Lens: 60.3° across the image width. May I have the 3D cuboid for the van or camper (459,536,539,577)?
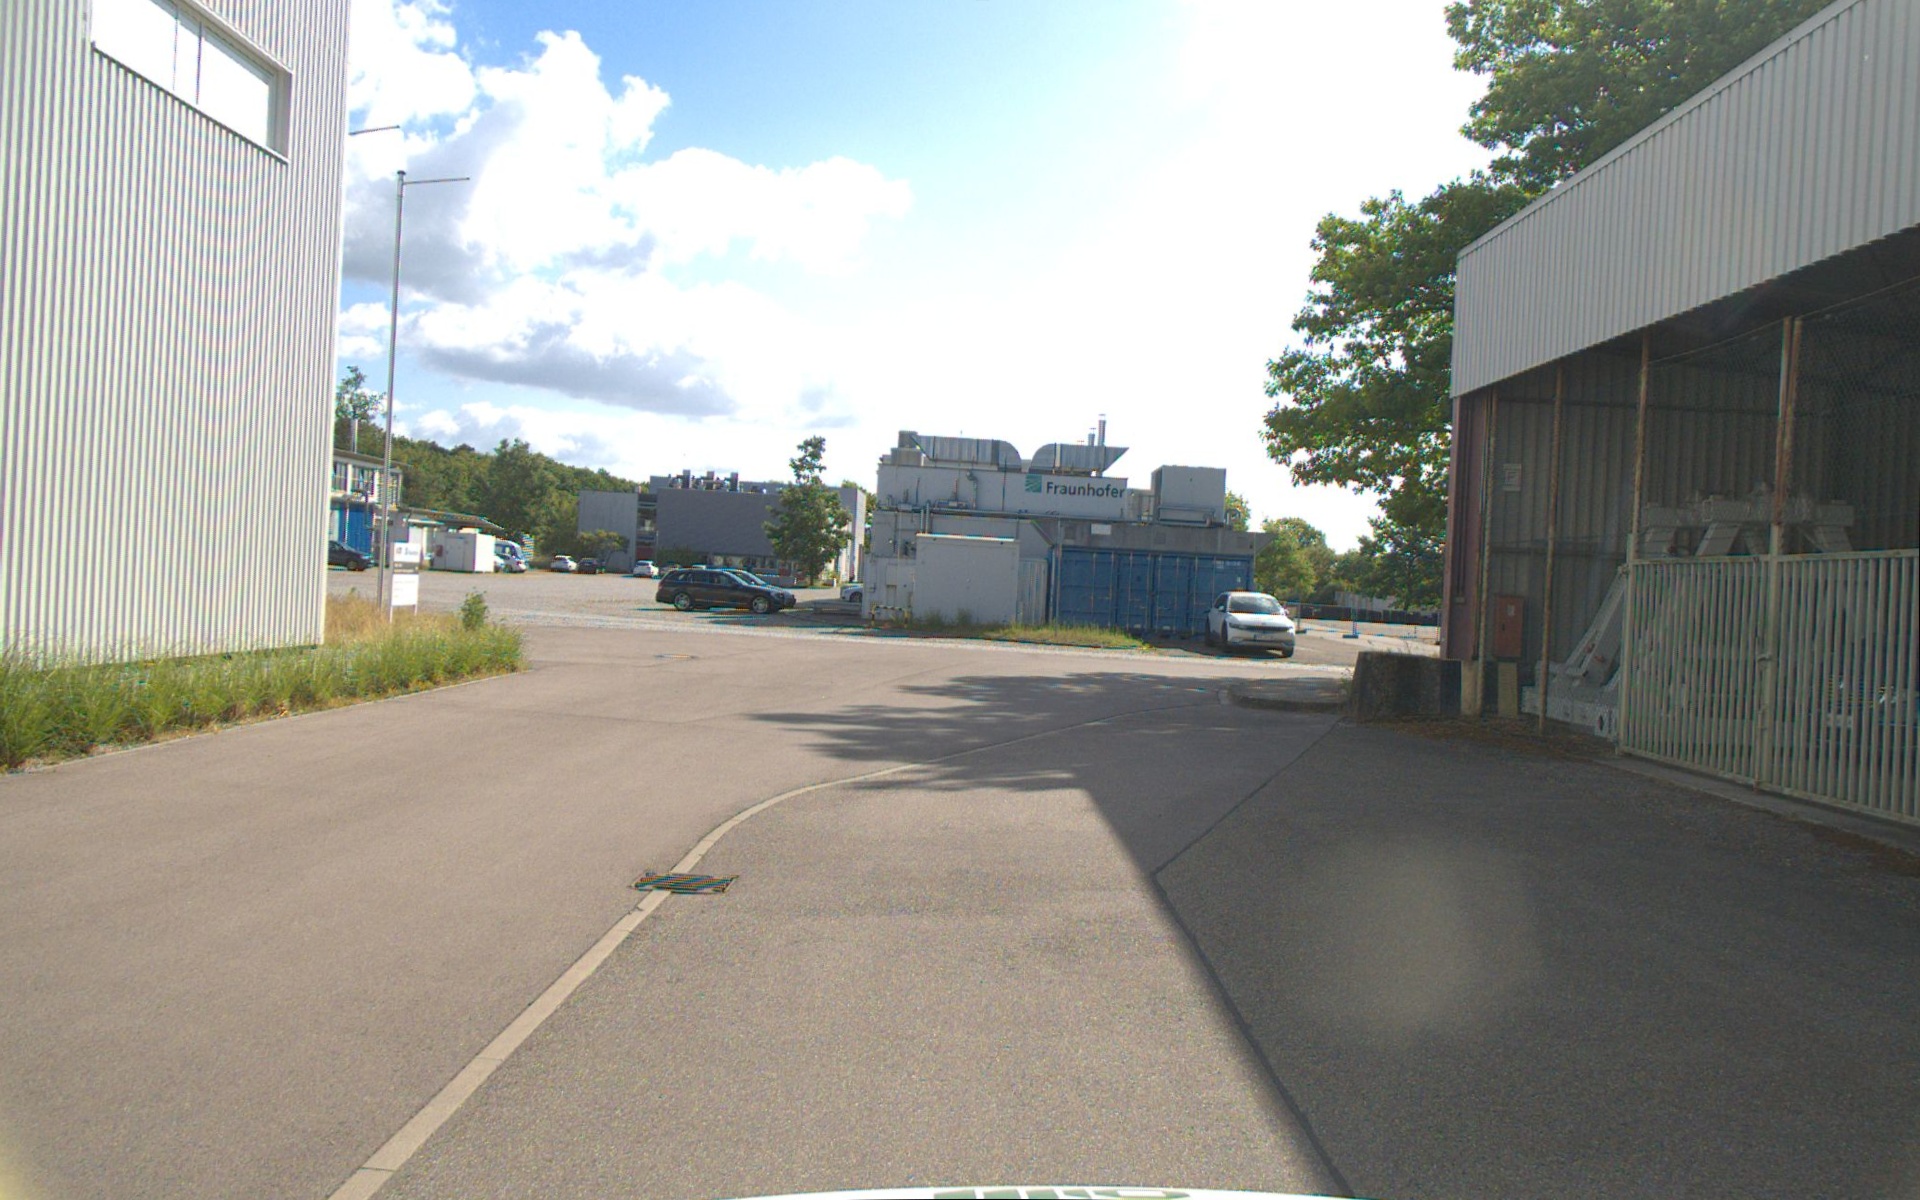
[{"bbox_3d":[-36.564,-3.419,131.306,5.600,2.979,2.473,2,1,-2],"label":"van or camper"}]

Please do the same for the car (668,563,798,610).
[{"bbox_3d":[-8.360,-0.503,61.205,4.432,1.534,1.909,2,1,2],"label":"car"}]

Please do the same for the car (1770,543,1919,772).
[{"bbox_3d":[10.394,0.557,15.018,5.136,1.909,1.998,2,1,-6],"label":"car"}]

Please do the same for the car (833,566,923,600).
[{"bbox_3d":[-4.221,-0.897,85.585,4.433,1.534,1.909,2,1,1],"label":"car"}]

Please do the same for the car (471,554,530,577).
[{"bbox_3d":[-35.553,-2.678,128.056,3.906,1.638,2.000,2,1,-2],"label":"car"}]

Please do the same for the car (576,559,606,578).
[{"bbox_3d":[-34.424,-2.934,154.472,1.953,1.766,4.000,1,0,-1],"label":"car"}]

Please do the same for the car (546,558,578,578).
[{"bbox_3d":[-37.173,-2.981,154.513,1.953,1.766,4.000,1,0,-1],"label":"car"}]

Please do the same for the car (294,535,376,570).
[{"bbox_3d":[-35.664,-2.711,94.505,3.910,1.817,1.998,2,1,-6],"label":"car"}]

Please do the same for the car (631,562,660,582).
[{"bbox_3d":[-29.496,-2.633,154.996,1.953,1.766,4.000,1,0,-1],"label":"car"}]

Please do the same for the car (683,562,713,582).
[{"bbox_3d":[-24.516,-2.580,155.012,2.149,1.766,4.000,1,0,-1],"label":"car"}]

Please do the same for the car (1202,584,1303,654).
[{"bbox_3d":[7.940,0.475,45.296,1.953,1.613,4.173,2,2,-1],"label":"car"}]

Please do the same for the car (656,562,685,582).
[{"bbox_3d":[-27.050,-2.590,154.656,1.953,1.766,4.000,1,0,-1],"label":"car"}]

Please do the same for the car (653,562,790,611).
[{"bbox_3d":[-8.332,-0.484,57.968,4.432,1.534,1.909,2,1,2],"label":"car"}]
